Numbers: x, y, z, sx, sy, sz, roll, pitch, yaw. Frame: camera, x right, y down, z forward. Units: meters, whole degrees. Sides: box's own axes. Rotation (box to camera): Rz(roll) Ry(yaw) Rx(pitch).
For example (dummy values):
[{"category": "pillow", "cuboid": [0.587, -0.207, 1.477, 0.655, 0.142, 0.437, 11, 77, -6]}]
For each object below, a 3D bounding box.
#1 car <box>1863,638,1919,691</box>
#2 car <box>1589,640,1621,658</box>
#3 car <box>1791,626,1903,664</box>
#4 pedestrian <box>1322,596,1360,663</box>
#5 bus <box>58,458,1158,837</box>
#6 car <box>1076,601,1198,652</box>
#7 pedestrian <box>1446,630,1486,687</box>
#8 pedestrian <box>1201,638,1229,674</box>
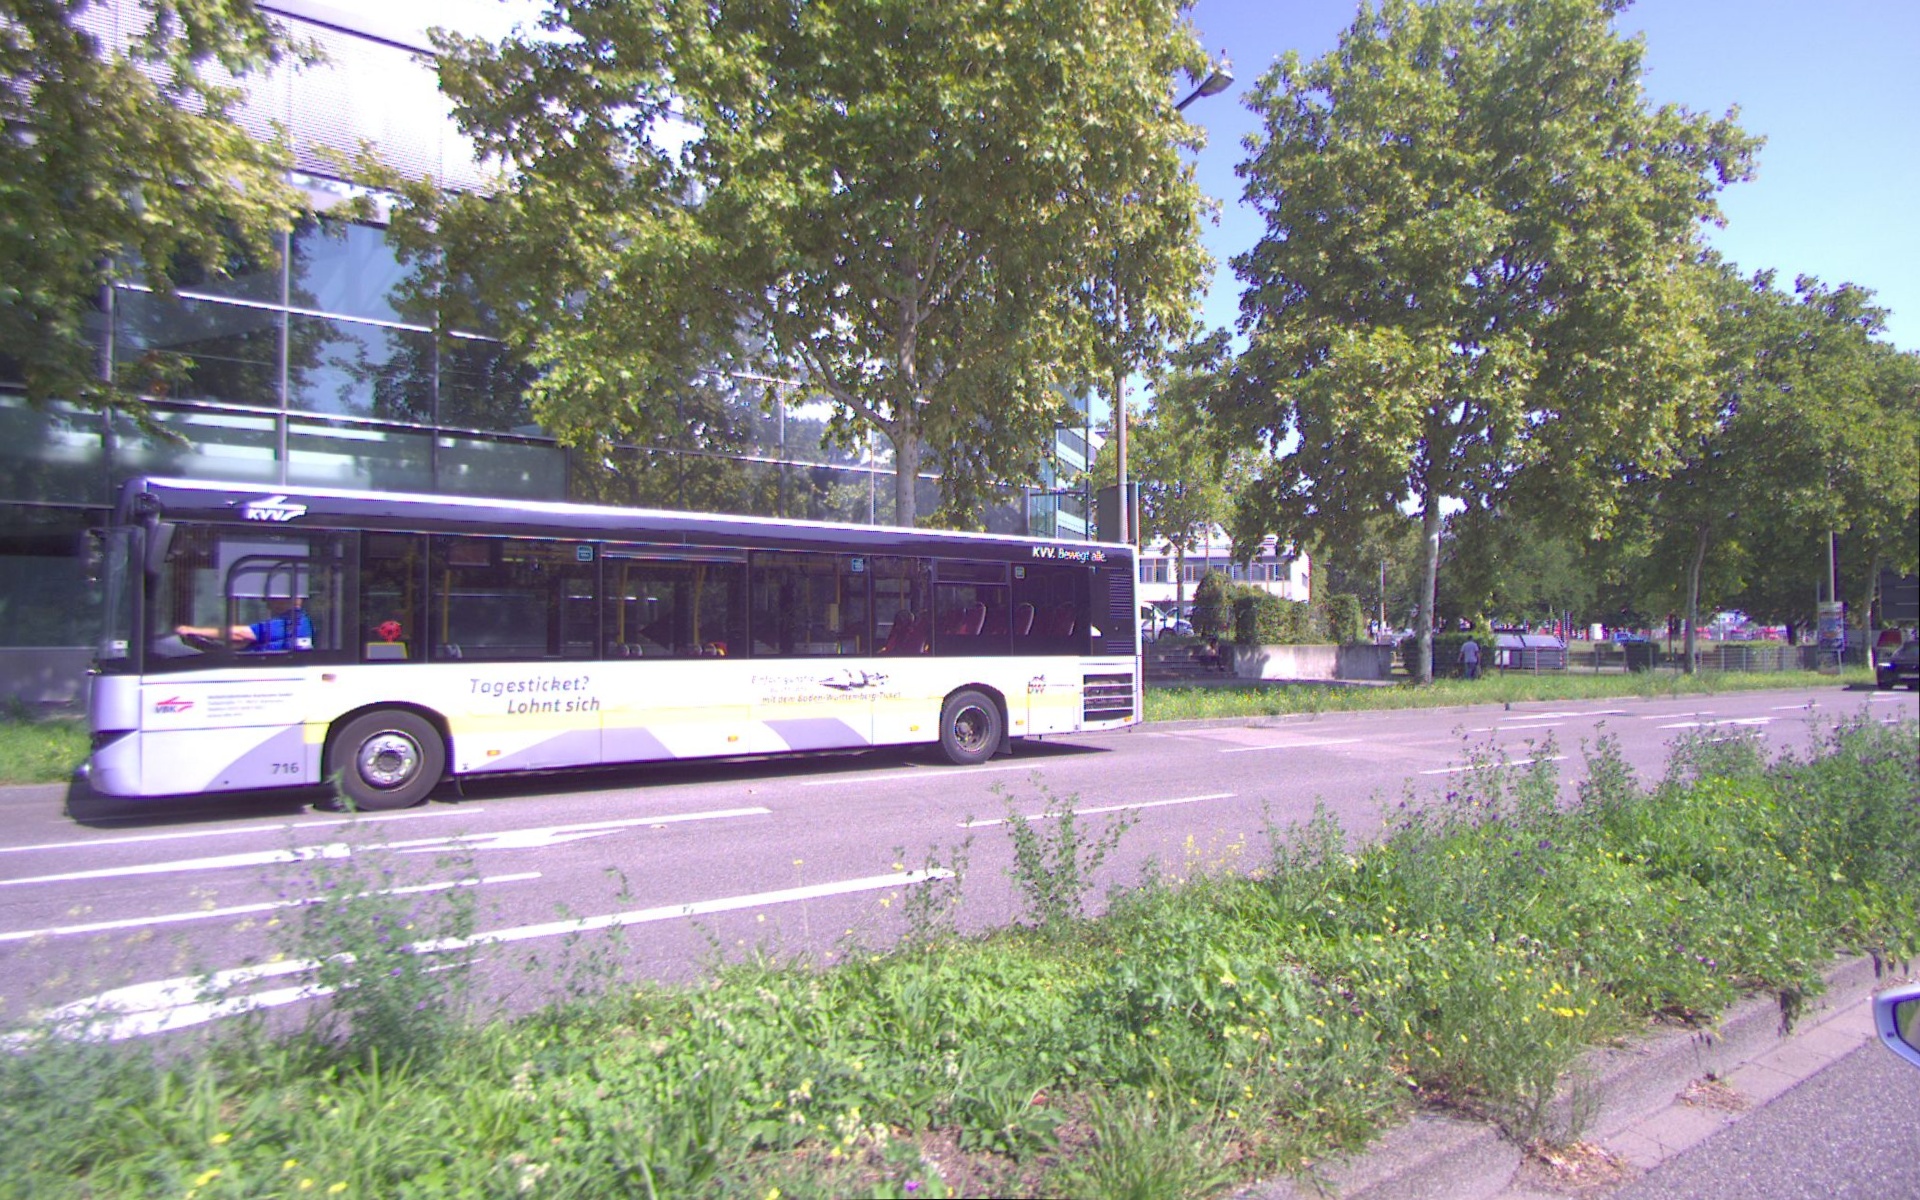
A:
[{"category": "car", "cuboid": [31.657, 2.096, 33.047, 4.562, 1.626, 1.835, 2, -1, -33]}, {"category": "car", "cuboid": [62.374, 4.717, 97.231, 1.895, 1.472, 3.998, 0, 1, 22]}, {"category": "car", "cuboid": [62.363, 3.091, 70.696, 2.254, 2.369, 5.551, -1, 1, -33]}, {"category": "pedestrian", "cuboid": [14.152, 1.076, 37.319, 0.903, 2.423, 0.966, -1, 1, -25]}, {"category": "bus", "cuboid": [-2.638, 0.564, 11.315, 10.789, 2.729, 2.647, 2, -4, -33]}, {"category": "car", "cuboid": [7.204, 1.051, 40.799, 4.526, 1.927, 1.999, 0, 1, 24]}, {"category": "pedestrian", "cuboid": [18.697, 2.149, 37.149, 0.995, 2.041, 1.269, -1, 1, 10]}, {"category": "pedestrian", "cuboid": [8.396, 1.837, 33.070, 0.557, 1.124, 0.729, -2, 1, -37]}]
